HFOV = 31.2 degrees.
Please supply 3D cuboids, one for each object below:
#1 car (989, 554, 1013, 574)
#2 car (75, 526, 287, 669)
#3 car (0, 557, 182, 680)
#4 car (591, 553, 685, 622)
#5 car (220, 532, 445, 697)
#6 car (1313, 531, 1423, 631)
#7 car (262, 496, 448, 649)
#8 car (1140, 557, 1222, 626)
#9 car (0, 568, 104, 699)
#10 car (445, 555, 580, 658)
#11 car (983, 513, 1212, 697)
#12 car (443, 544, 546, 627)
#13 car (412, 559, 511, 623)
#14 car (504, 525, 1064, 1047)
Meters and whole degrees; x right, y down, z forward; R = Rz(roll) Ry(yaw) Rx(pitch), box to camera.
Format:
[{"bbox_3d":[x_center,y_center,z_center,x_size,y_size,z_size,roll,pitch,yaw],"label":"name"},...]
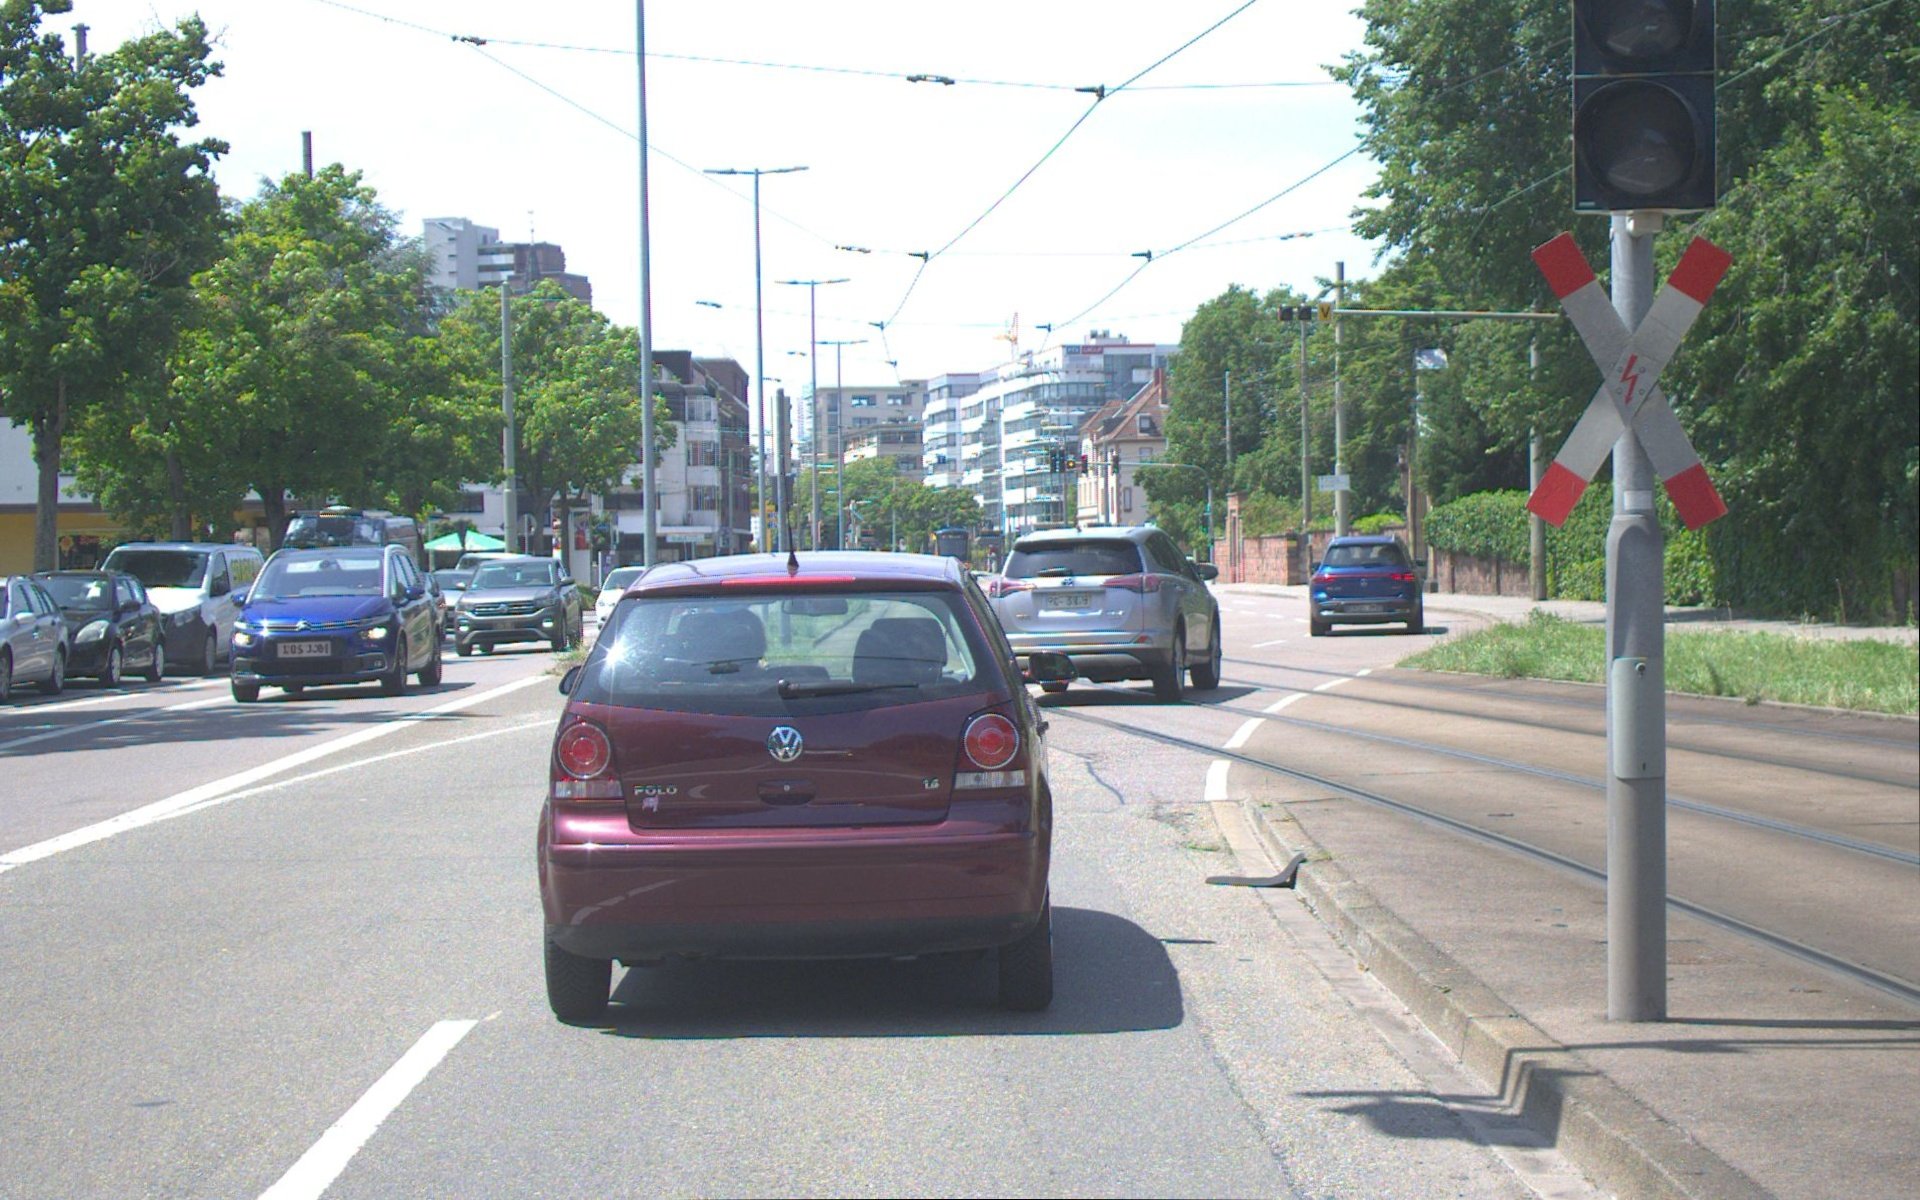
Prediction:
[{"bbox_3d":[2.483,-2.186,208.581,1.354,1.248,2.972,0,1,0],"label":"car"},{"bbox_3d":[-11.401,-0.066,50.633,1.862,1.930,4.805,2,1,1],"label":"car"},{"bbox_3d":[-11.463,0.208,44.873,1.614,1.479,3.784,2,1,1],"label":"car"},{"bbox_3d":[-6.926,-0.272,74.292,1.648,1.371,3.811,-3,0,-1],"label":"car"},{"bbox_3d":[-6.836,0.120,37.810,1.737,1.651,4.067,-2,1,-1],"label":"car"},{"bbox_3d":[6.885,-0.344,57.926,1.774,1.625,3.999,0,1,7],"label":"car"},{"bbox_3d":[-11.315,-0.539,64.730,2.398,2.647,6.173,2,1,-1],"label":"car"},{"bbox_3d":[5.574,-0.233,87.147,1.795,1.677,4.000,0,1,0],"label":"car"},{"bbox_3d":[-11.530,0.365,40.412,1.719,1.422,4.771,-1,1,0],"label":"car"},{"bbox_3d":[-7.306,0.073,56.446,1.737,1.570,3.713,-2,1,-1],"label":"car"},{"bbox_3d":[1.401,0.016,33.444,1.796,1.677,3.999,0,1,9],"label":"car"},{"bbox_3d":[-11.717,-0.395,86.820,1.875,1.958,5.165,2,1,-1],"label":"car"},{"bbox_3d":[-11.624,-0.231,80.304,1.631,1.415,3.867,1,1,2],"label":"car"},{"bbox_3d":[-0.495,0.529,12.193,1.609,1.493,4.000,-2,1,1],"label":"car"}]
